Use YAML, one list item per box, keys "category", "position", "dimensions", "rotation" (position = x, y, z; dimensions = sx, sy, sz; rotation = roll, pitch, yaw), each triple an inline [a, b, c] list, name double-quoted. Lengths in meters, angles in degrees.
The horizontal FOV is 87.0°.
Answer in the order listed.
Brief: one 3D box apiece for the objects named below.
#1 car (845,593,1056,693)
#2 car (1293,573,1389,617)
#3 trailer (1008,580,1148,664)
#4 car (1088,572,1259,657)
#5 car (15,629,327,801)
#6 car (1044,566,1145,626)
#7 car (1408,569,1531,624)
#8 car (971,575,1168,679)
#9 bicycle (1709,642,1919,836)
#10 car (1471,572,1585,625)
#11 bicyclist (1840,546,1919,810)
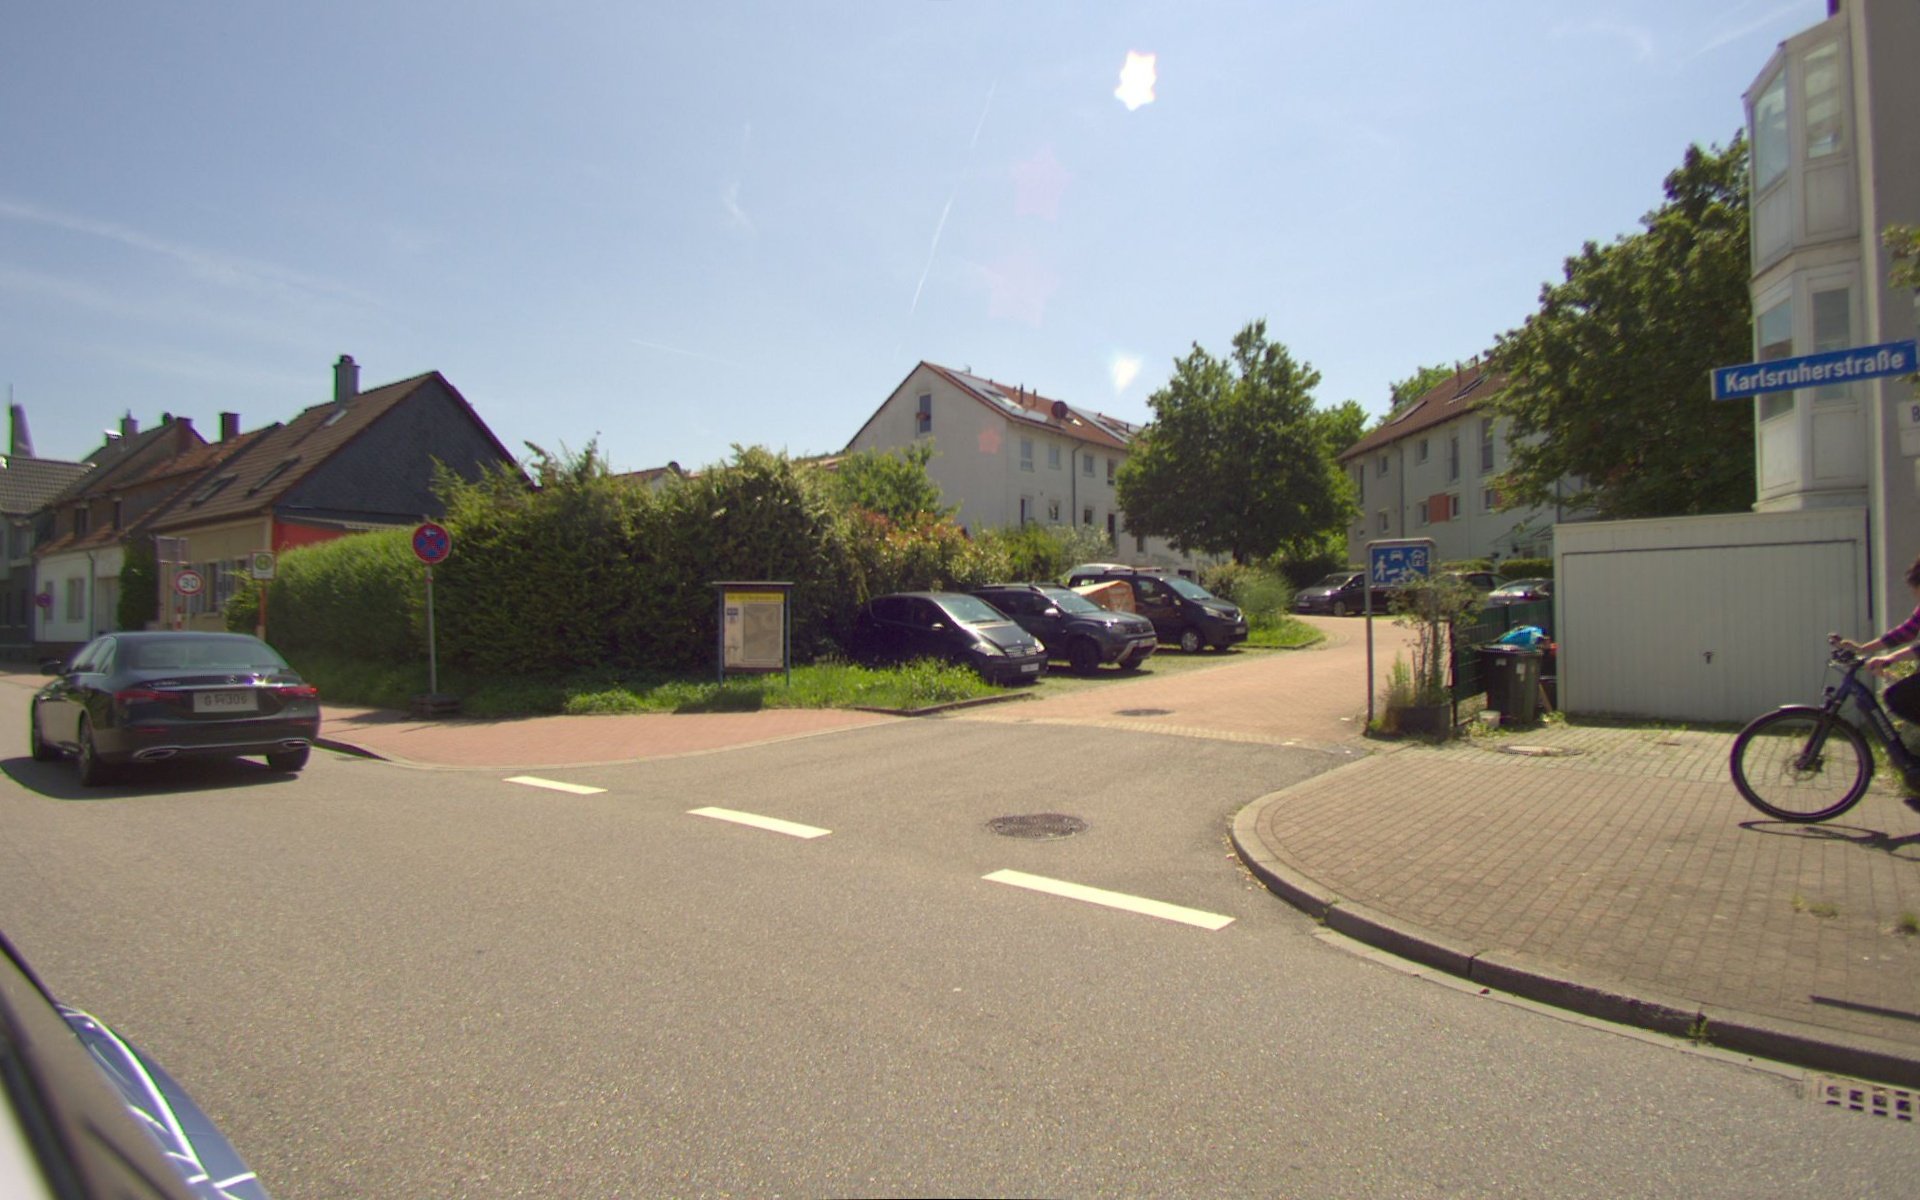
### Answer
- category: "car"
  position: [-0.238, 0.716, 17.983]
  dimensions: [3.653, 1.552, 1.605]
  rotation: [-1, 1, 44]
- category: "car"
  position: [13.640, -0.175, 36.168]
  dimensions: [3.580, 1.463, 1.595]
  rotation: [-1, -1, -38]
- category: "trailer"
  position: [2.594, 0.480, 22.416]
  dimensions: [2.688, 1.676, 1.413]
  rotation: [-2, 2, 37]
- category: "car"
  position: [4.910, 0.325, 23.576]
  dimensions: [3.552, 1.794, 1.605]
  rotation: [-1, 1, 44]
- category: "car"
  position: [-8.605, 1.066, 10.873]
  dimensions: [4.691, 1.471, 1.712]
  rotation: [-2, -3, 40]
- category: "car"
  position: [4.197, -0.141, 31.161]
  dimensions: [1.419, 1.747, 3.594]
  rotation: [-1, 0, 39]
- category: "car"
  position: [16.221, -0.142, 32.198]
  dimensions: [3.933, 1.635, 1.754]
  rotation: [-2, 1, -33]
- category: "car"
  position: [2.057, 0.493, 19.604]
  dimensions: [3.511, 1.793, 1.605]
  rotation: [-1, 1, 44]
- category: "bicycle"
  position: [5.721, 0.803, 6.000]
  dimensions: [2.023, 1.064, 0.665]
  rotation: [-3, 0, 37]
- category: "car"
  position: [16.957, -0.069, 30.142]
  dimensions: [3.937, 1.439, 1.695]
  rotation: [-2, 0, -40]
- category: "bicyclist"
  position: [5.809, 0.431, 5.924]
  dimensions: [0.908, 1.505, 0.652]
  rotation: [-2, 1, 37]
